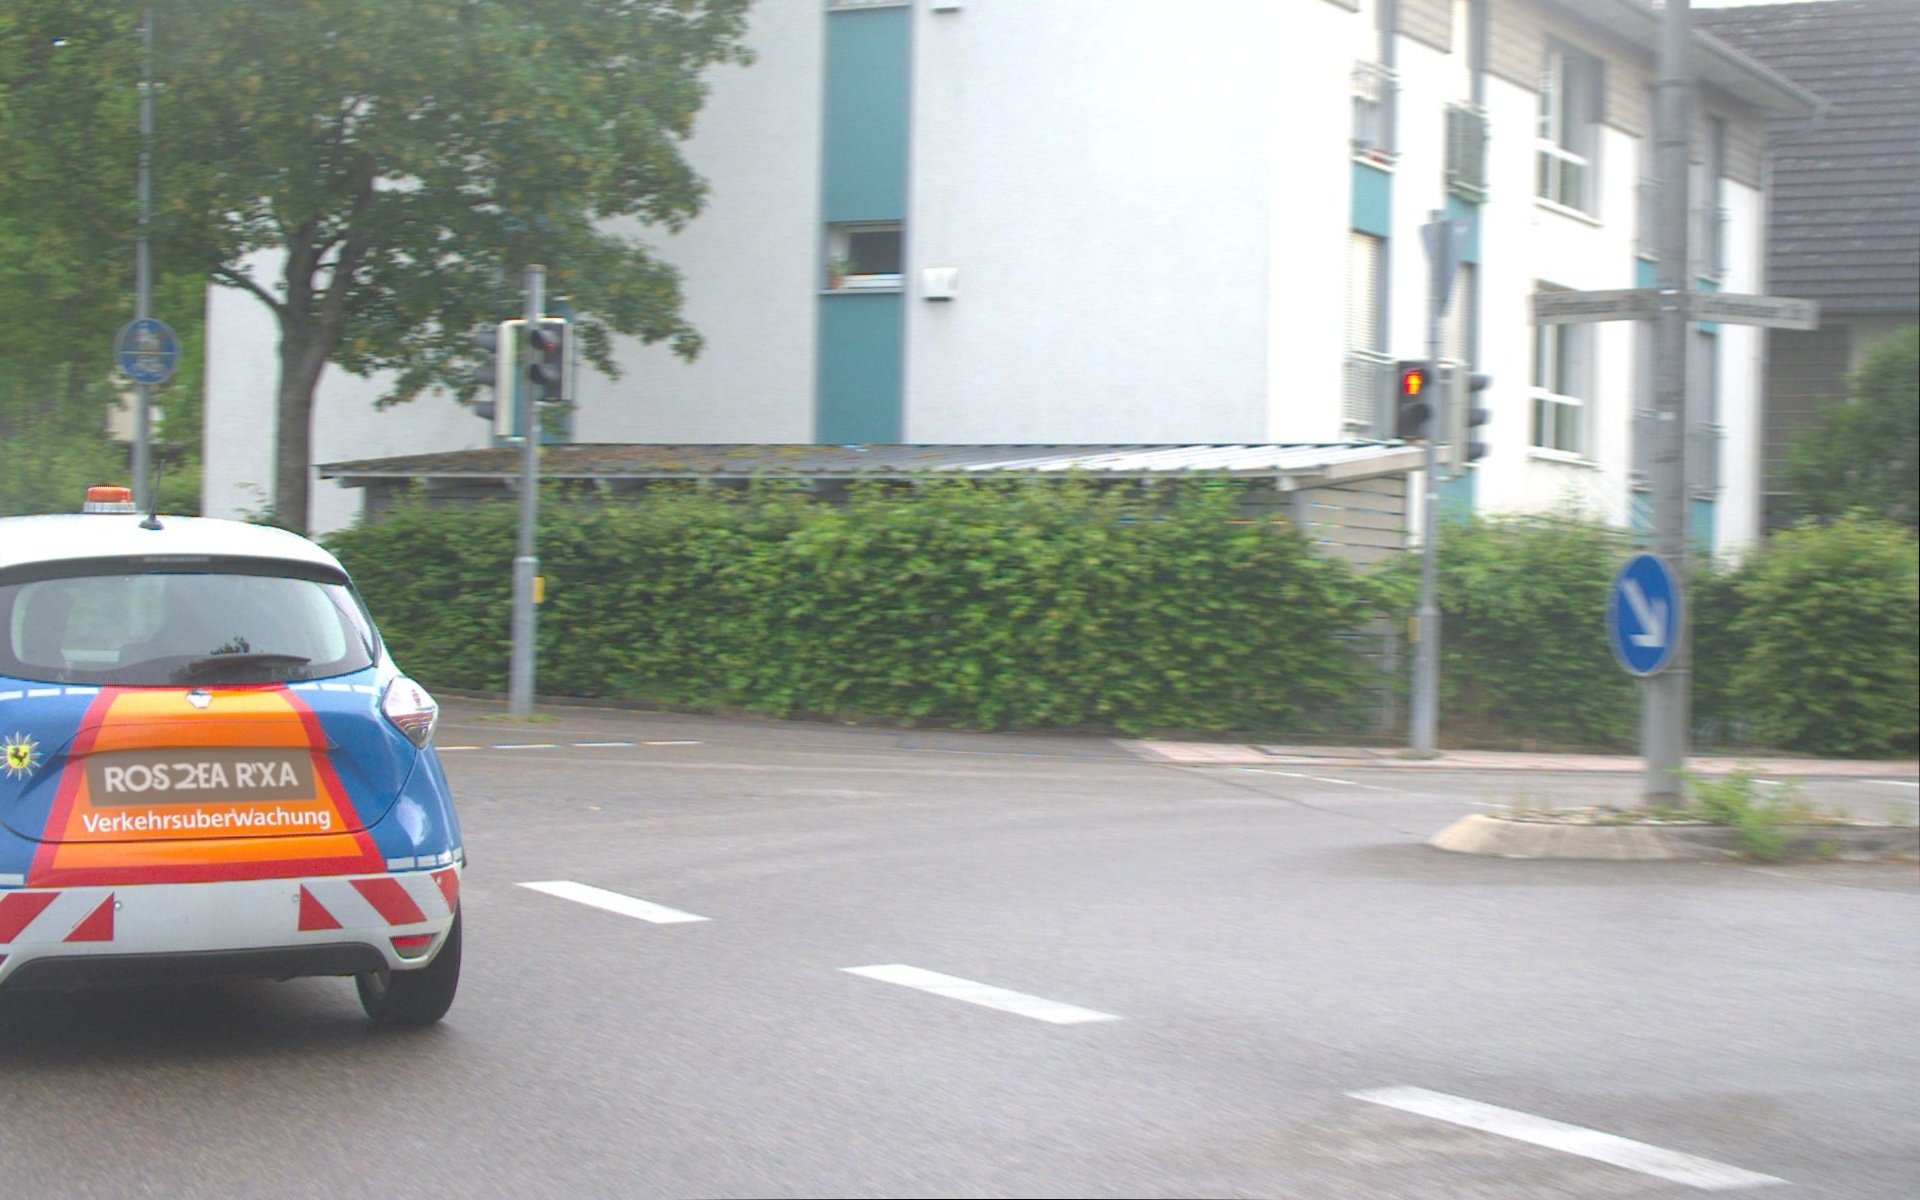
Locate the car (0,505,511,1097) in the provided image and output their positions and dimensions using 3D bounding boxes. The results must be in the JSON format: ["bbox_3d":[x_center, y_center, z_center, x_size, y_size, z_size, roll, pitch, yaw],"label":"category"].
[{"bbox_3d":[-2.857,0.510,11.192,1.745,1.576,4.001,0,1,-23],"label":"car"}]

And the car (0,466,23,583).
[{"bbox_3d":[-16.106,-1.179,51.066,3.986,1.717,2.001,1,2,-22],"label":"car"}]
